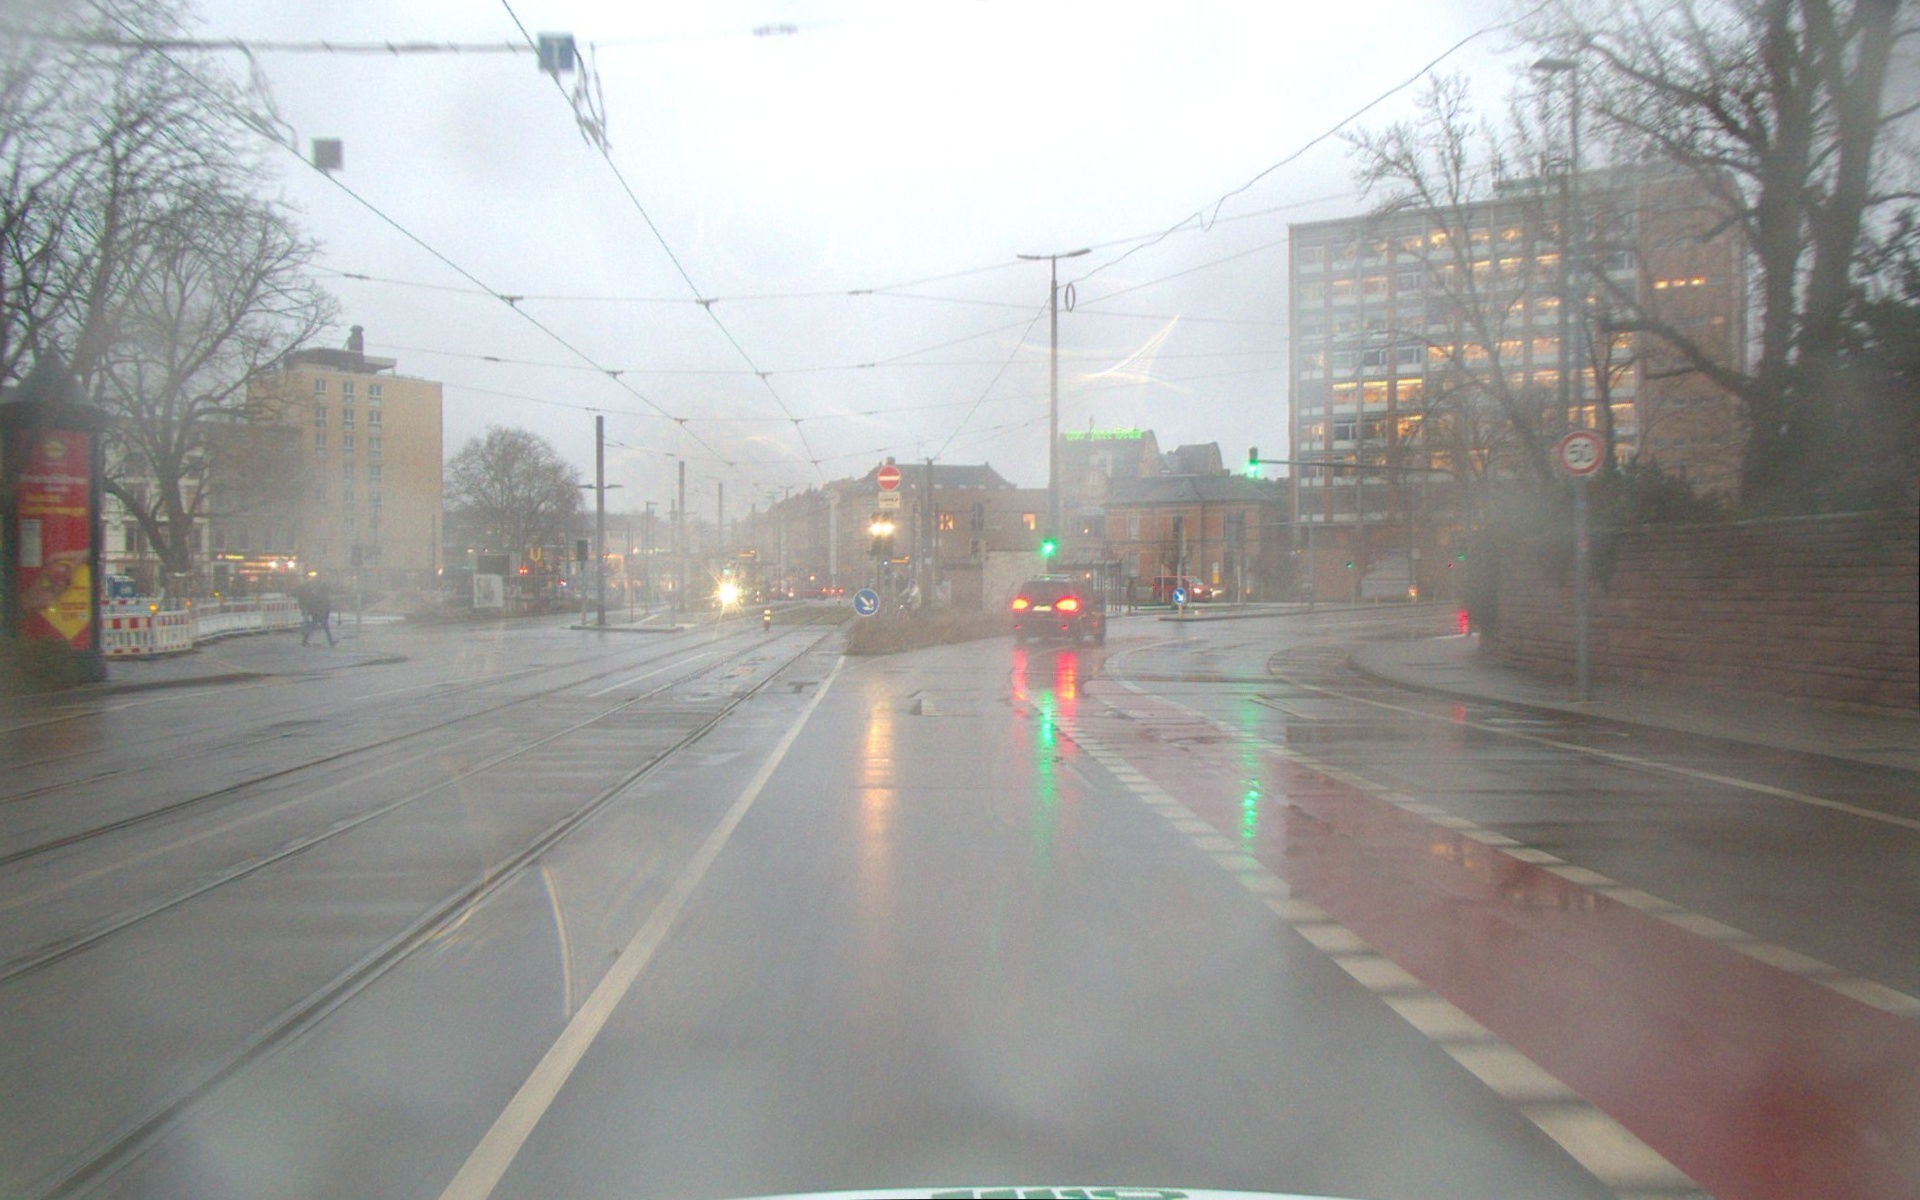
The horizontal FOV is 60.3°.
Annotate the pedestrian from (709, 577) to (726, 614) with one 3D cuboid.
[{"bbox_3d":[-12.187,-0.211,83.136,0.698,1.837,0.717,1,0,-2],"label":"pedestrian"}]

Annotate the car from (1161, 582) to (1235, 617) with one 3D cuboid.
[{"bbox_3d":[16.947,-0.018,118.047,2.238,2.321,4.964,2,0,-41],"label":"car"}]

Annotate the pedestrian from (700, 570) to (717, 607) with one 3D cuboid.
[{"bbox_3d":[-12.272,-0.555,80.816,0.698,1.788,0.717,1,0,-2],"label":"pedestrian"}]

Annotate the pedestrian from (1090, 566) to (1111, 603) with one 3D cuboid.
[{"bbox_3d":[6.633,-0.721,78.073,0.662,1.703,0.727,2,0,36],"label":"pedestrian"}]

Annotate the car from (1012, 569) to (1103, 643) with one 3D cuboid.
[{"bbox_3d":[2.698,0.123,44.990,1.612,1.850,4.003,1,2,16],"label":"car"}]

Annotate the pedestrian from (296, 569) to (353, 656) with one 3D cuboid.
[{"bbox_3d":[-18.013,0.352,46.921,0.974,2.412,1.063,2,0,28],"label":"pedestrian"}]
